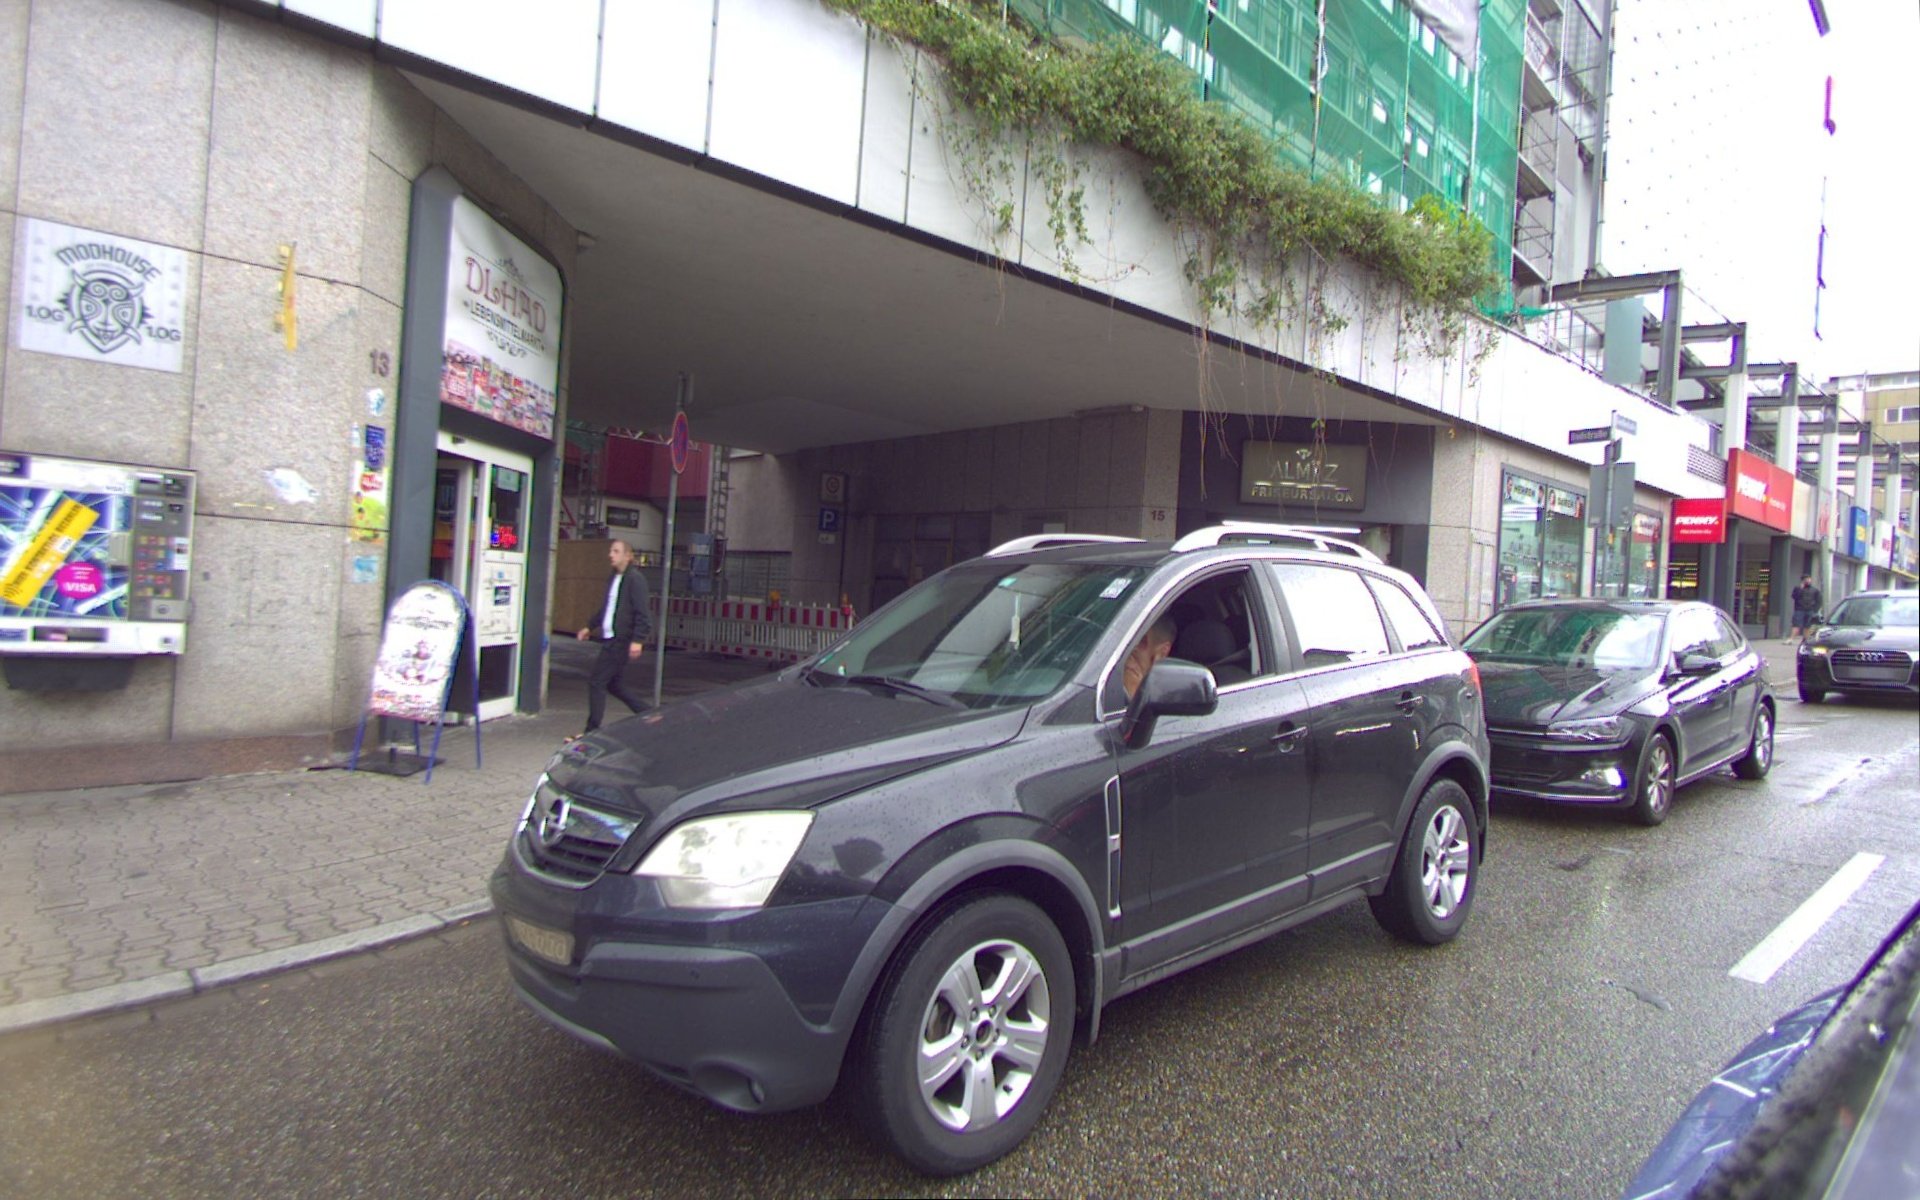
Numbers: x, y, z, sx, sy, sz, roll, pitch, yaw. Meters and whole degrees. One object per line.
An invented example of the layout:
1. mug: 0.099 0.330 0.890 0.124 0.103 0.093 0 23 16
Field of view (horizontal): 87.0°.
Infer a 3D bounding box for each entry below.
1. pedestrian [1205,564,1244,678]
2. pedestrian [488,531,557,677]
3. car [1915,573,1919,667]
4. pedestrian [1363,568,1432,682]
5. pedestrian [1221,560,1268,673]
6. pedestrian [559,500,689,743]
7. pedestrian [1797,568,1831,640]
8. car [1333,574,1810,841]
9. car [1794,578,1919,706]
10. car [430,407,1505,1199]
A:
1. pedestrian: 4.072 0.320 15.599 0.474 1.729 0.467 -1 0 1
2. pedestrian: -5.831 0.034 13.464 0.757 1.837 0.745 0 5 -29
3. car: 19.682 0.400 19.041 4.088 1.728 1.988 1 0 -39
4. pedestrian: 6.550 0.354 15.175 0.626 1.663 0.735 -1 1 -17
5. pedestrian: 4.154 0.229 14.783 0.630 1.615 0.574 0 1 17
6. pedestrian: -2.714 0.144 8.167 0.760 1.838 0.743 0 3 -40
7. pedestrian: 20.574 0.088 24.380 0.570 1.699 0.509 -1 3 -42
8. car: 4.800 0.631 7.732 4.086 1.523 1.759 1 0 -38
9. car: 13.552 0.508 14.410 4.089 1.628 1.841 -1 1 -39
10. car: 0.391 0.533 3.986 4.090 1.788 1.763 1 0 -41
